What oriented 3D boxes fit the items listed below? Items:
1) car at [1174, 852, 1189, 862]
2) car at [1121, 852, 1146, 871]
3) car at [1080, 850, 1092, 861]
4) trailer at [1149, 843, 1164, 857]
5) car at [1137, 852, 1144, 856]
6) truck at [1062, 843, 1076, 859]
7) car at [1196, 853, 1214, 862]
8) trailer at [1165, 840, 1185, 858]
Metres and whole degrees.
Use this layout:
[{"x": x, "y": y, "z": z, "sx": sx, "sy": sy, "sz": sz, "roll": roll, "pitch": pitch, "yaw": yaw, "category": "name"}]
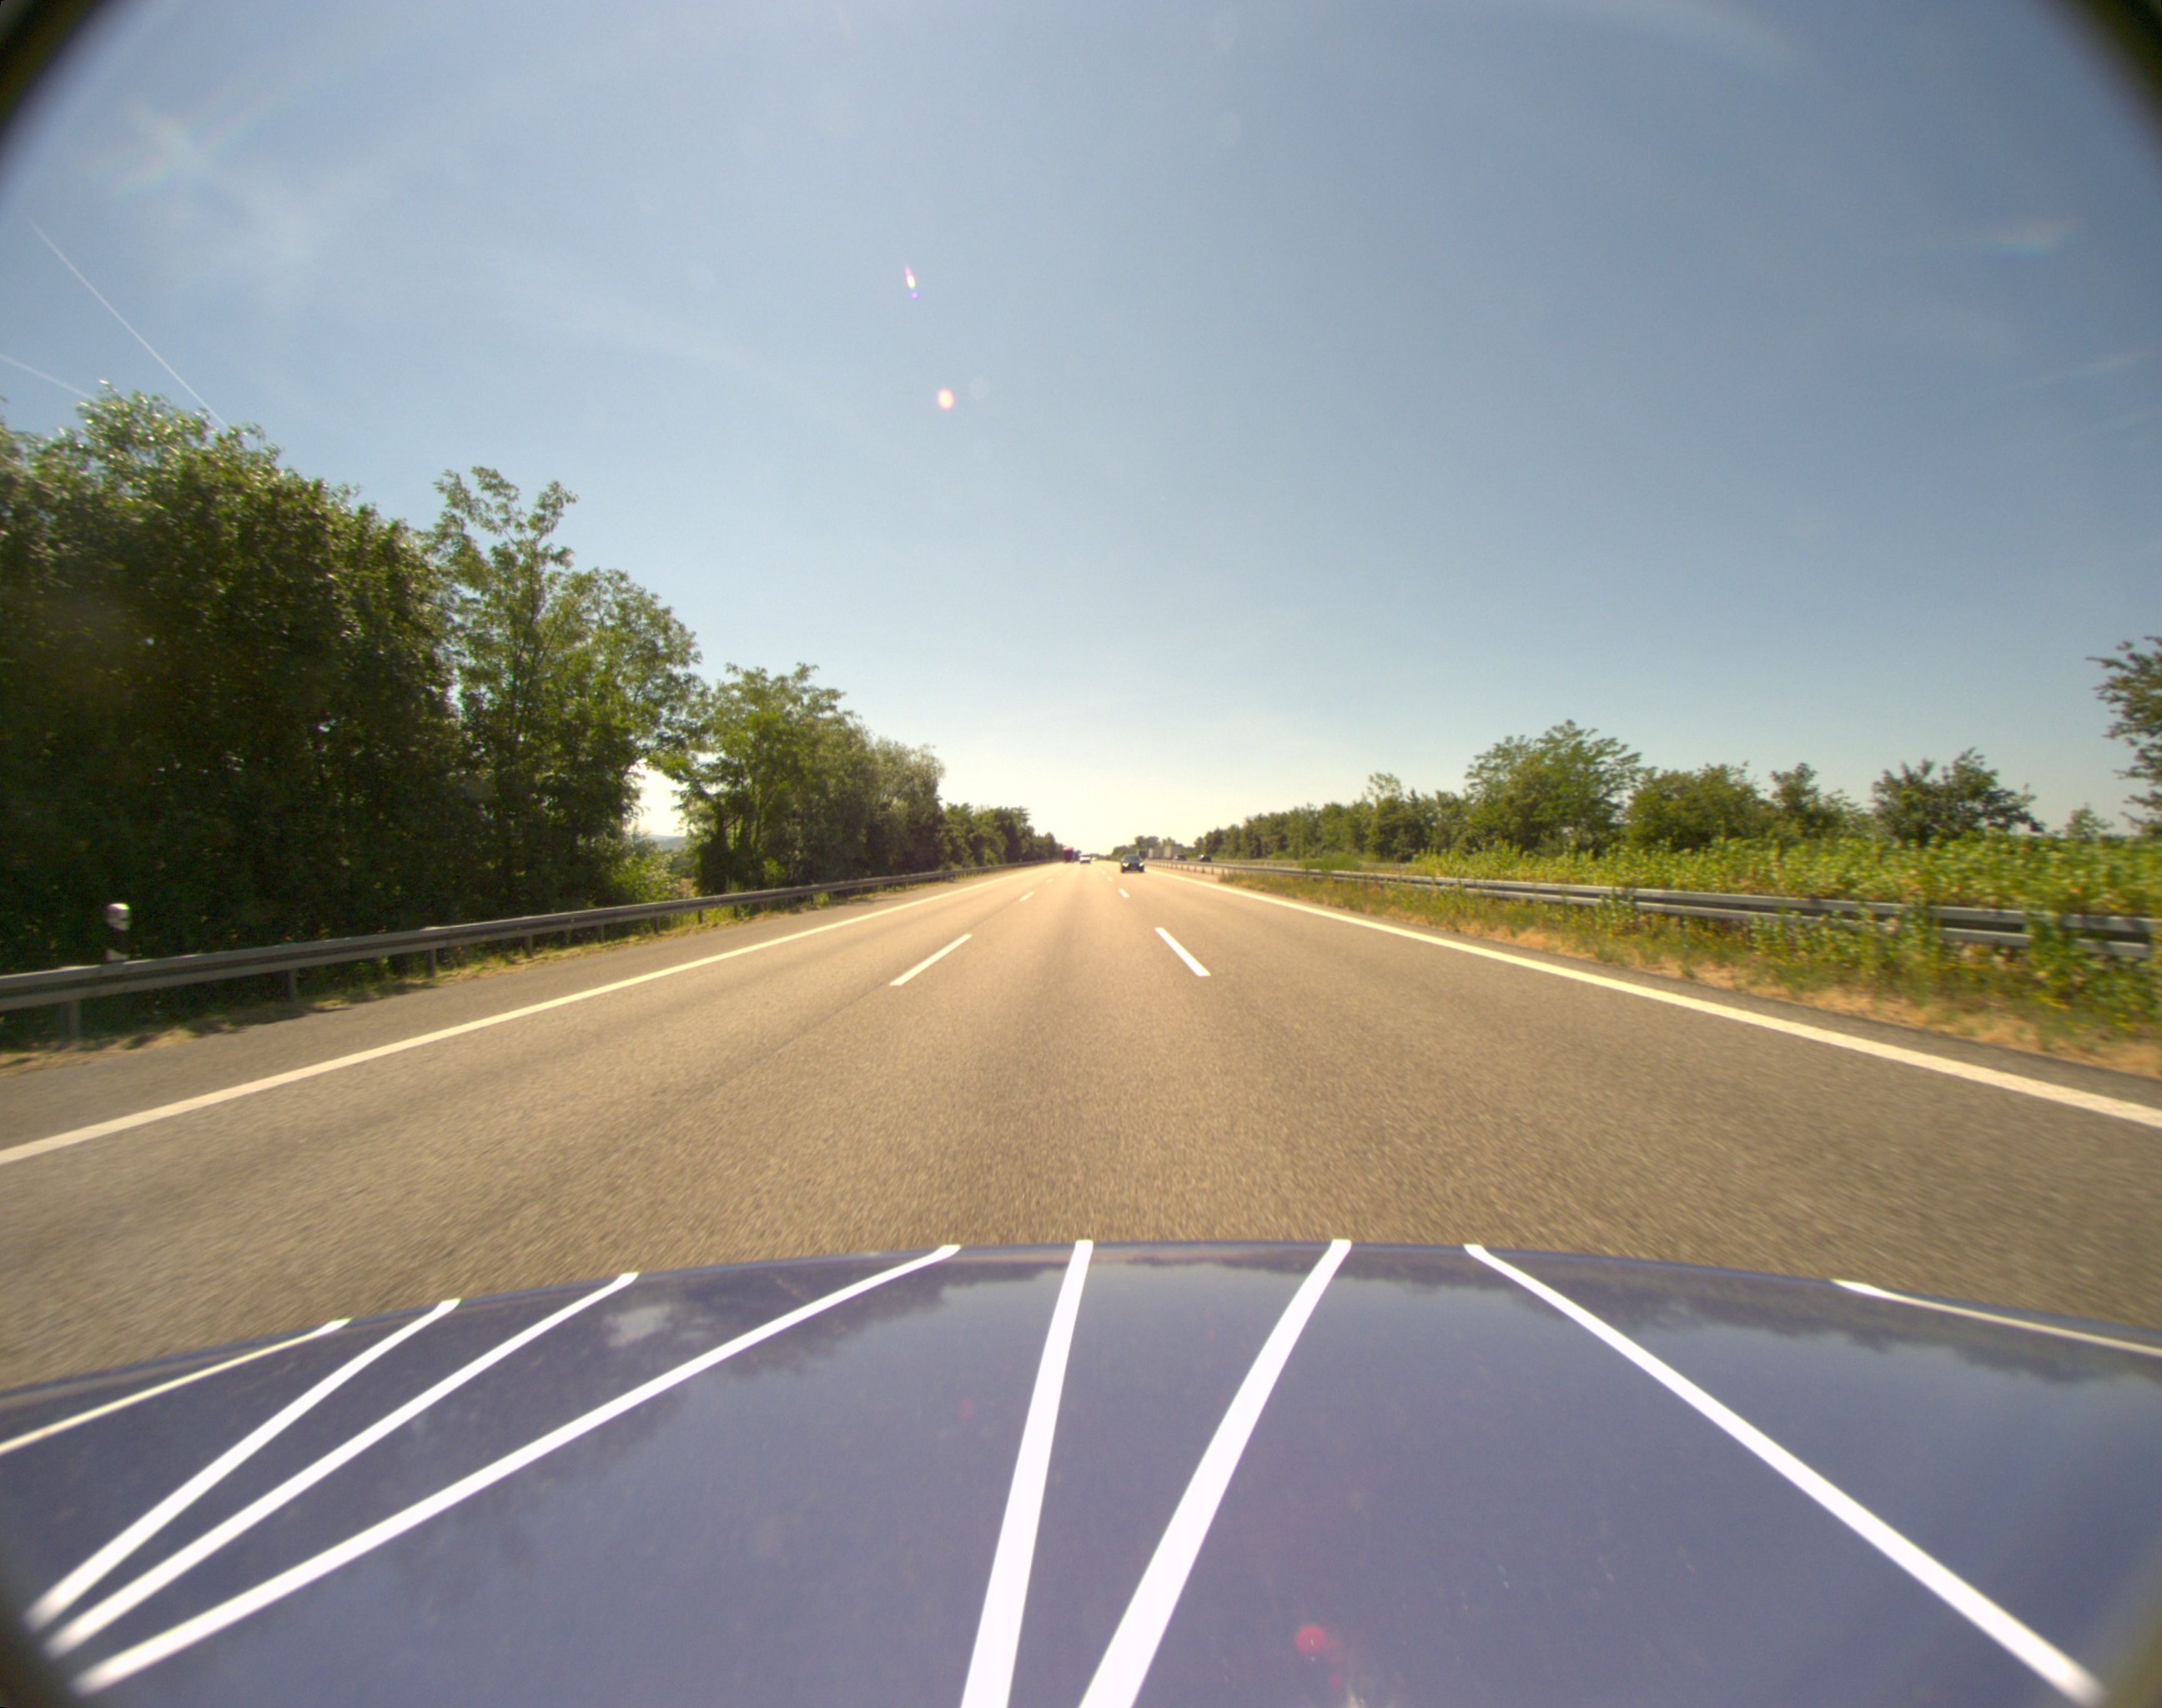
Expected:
[{"x": 14.124, "y": 0.431, "z": 106.667, "sx": 1.557, "sy": 1.454, "sz": 4.046, "roll": -1, "pitch": 0, "yaw": 0, "category": "car"}, {"x": 4.217, "y": 0.604, "z": 61.561, "sx": 1.736, "sy": 1.433, "sz": 4.000, "roll": -3, "pitch": -1, "yaw": 1, "category": "car"}, {"x": 0.911, "y": 0.295, "z": 141.658, "sx": 1.998, "sy": 2.001, "sz": 4.756, "roll": -3, "pitch": 0, "yaw": 1, "category": "car"}, {"x": 23.543, "y": -1.130, "z": 238.116, "sx": 3.357, "sy": 4.161, "sz": 13.542, "roll": 0, "pitch": -1, "yaw": 0, "category": "trailer"}, {"x": 19.589, "y": -0.008, "z": 248.389, "sx": 1.854, "sy": 1.454, "sz": 4.313, "roll": -5, "pitch": 0, "yaw": 0, "category": "car"}, {"x": -3.034, "y": -0.716, "z": 192.585, "sx": 2.938, "sy": 3.933, "sz": 10.261, "roll": -3, "pitch": 0, "yaw": 1, "category": "truck"}, {"x": 18.516, "y": 0.506, "z": 113.587, "sx": 1.867, "sy": 1.393, "sz": 4.531, "roll": 0, "pitch": 0, "yaw": 0, "category": "car"}, {"x": 22.759, "y": -1.210, "z": 184.849, "sx": 3.305, "sy": 4.161, "sz": 13.542, "roll": 0, "pitch": -1, "yaw": 0, "category": "trailer"}]
